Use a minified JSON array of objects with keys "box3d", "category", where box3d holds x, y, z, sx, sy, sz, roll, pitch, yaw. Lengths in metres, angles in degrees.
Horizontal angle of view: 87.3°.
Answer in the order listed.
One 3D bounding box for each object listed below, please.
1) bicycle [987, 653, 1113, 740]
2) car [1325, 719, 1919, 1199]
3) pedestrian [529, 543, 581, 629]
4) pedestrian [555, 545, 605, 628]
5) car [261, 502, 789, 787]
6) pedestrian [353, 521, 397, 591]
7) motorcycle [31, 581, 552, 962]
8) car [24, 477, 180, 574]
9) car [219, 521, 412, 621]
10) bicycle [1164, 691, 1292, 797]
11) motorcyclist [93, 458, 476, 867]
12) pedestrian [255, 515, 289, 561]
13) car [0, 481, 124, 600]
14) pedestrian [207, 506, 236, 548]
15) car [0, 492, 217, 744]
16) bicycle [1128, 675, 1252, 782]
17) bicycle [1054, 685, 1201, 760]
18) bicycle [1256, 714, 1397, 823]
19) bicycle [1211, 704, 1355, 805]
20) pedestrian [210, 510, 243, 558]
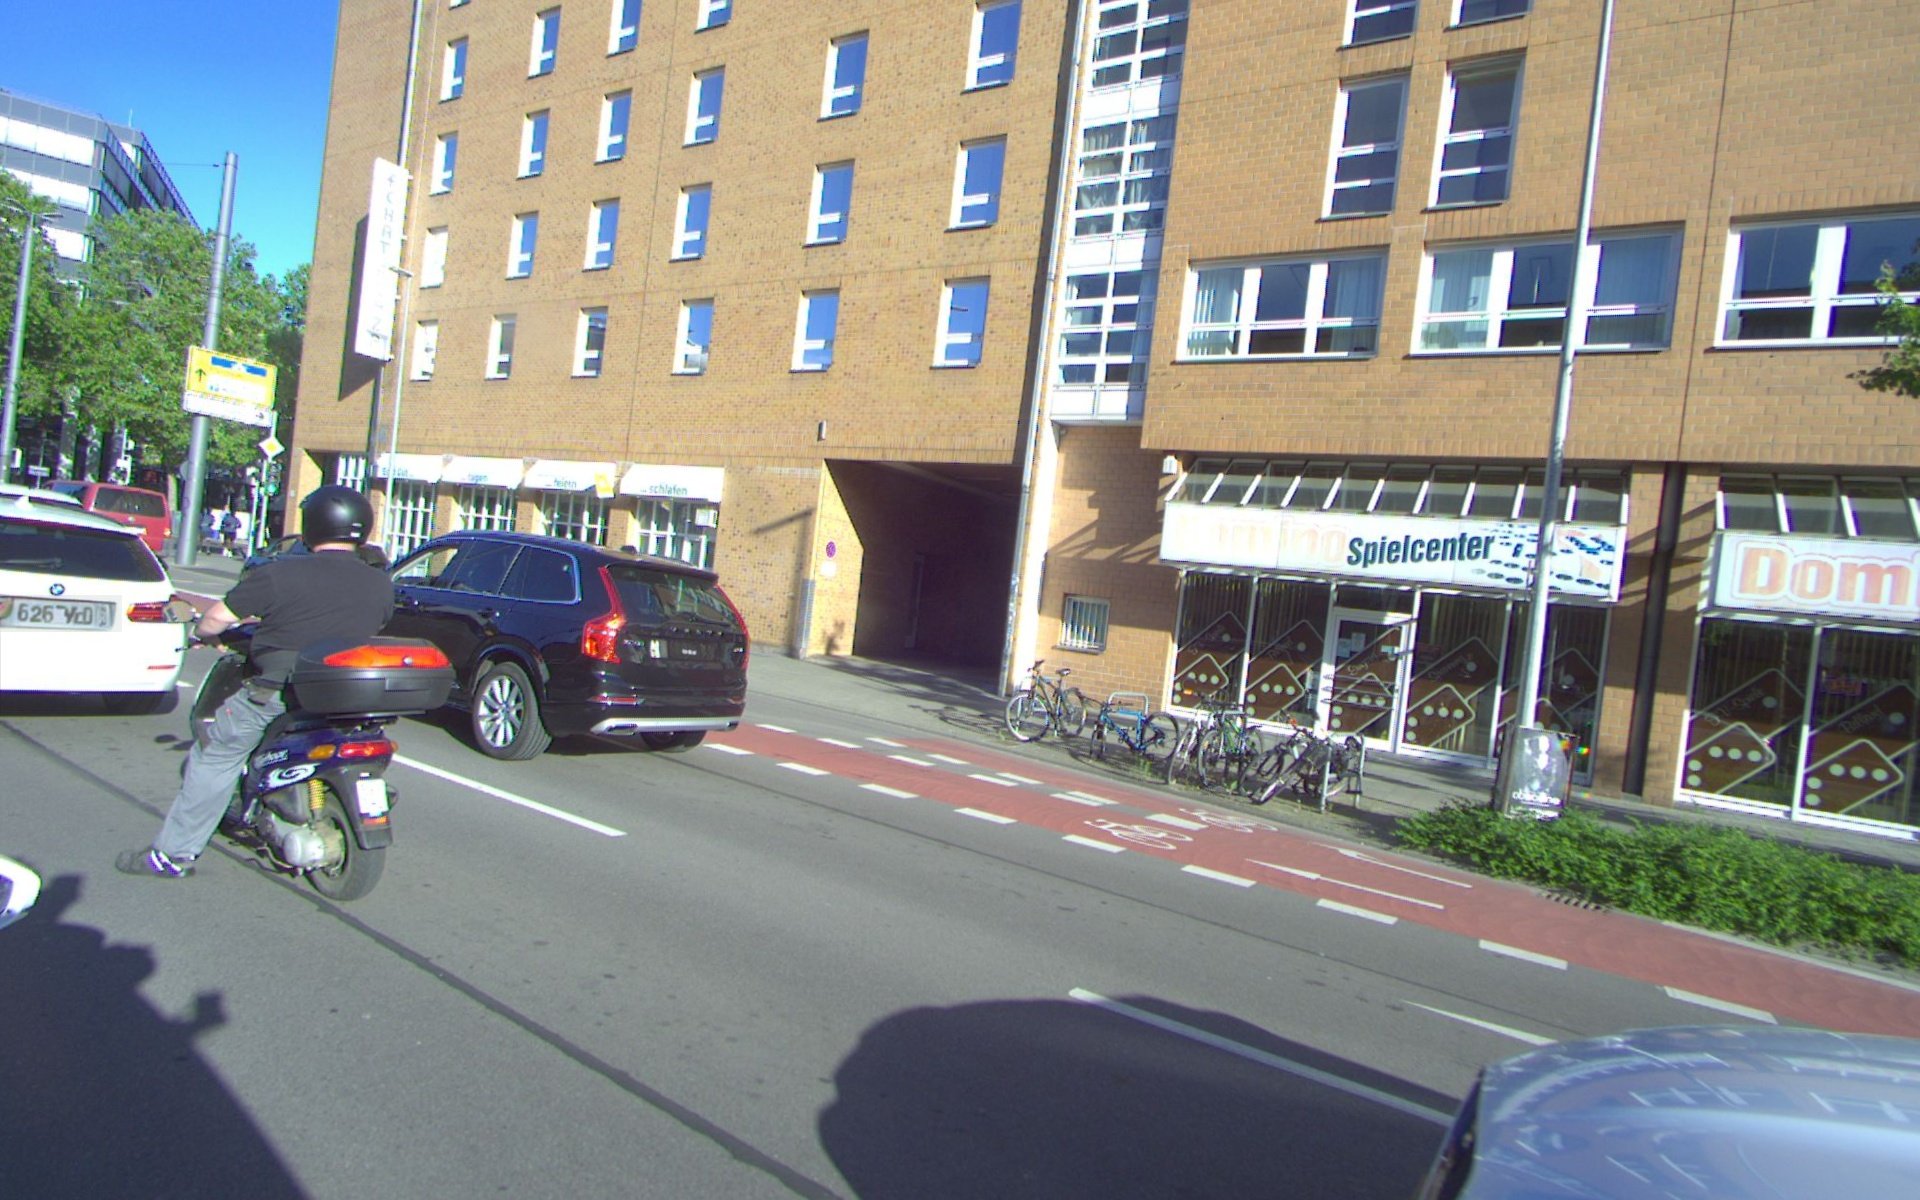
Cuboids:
[{"box3d":[1.302,1.365,14.231,0.617,1.088,1.940,7,1,43],"category":"bicycle"},{"box3d":[2.911,1.198,0.815,4.738,1.430,1.784,7,-2,32],"category":"car"},{"box3d":[-9.237,-0.314,22.966,0.736,1.844,0.607,7,1,31],"category":"pedestrian"},{"box3d":[-8.941,-0.312,23.700,0.736,1.844,0.607,7,1,31],"category":"pedestrian"},{"box3d":[-4.023,0.299,9.078,4.556,1.779,1.979,7,-2,32],"category":"car"},{"box3d":[-16.237,-1.222,27.916,0.736,1.844,0.607,7,1,31],"category":"pedestrian"},{"box3d":[-3.025,0.606,4.443,2.509,1.075,0.838,7,0,31],"category":"motorcycle"},{"box3d":[-21.817,-1.906,25.543,3.935,1.985,1.862,7,0,33],"category":"car"},{"box3d":[-13.219,-0.603,20.575,3.933,1.549,1.669,7,0,31],"category":"car"},{"box3d":[3.204,1.661,11.904,0.547,1.088,1.941,7,1,42],"category":"bicycle"},{"box3d":[-2.954,0.221,4.409,1.215,1.494,0.838,7,1,31],"category":"motorcyclist"},{"box3d":[-27.397,-2.451,40.062,0.511,1.680,0.828,7,-1,32],"category":"pedestrian"},{"box3d":[-16.003,-1.134,16.716,4.306,1.659,1.854,7,-1,32],"category":"car"},{"box3d":[-31.912,-3.134,43.454,0.511,1.680,0.698,7,-1,32],"category":"pedestrian"},{"box3d":[-7.487,-0.081,7.375,4.336,1.514,1.696,7,-2,32],"category":"car"},{"box3d":[2.835,1.537,12.262,0.484,1.151,1.941,7,1,42],"category":"bicycle"},{"box3d":[2.195,1.605,13.051,1.931,0.846,0.550,6,1,-32],"category":"bicycle"},{"box3d":[4.017,1.794,10.943,1.937,1.035,0.496,6,1,-41],"category":"bicycle"},{"box3d":[3.677,1.716,11.348,1.937,0.981,0.548,6,1,-41],"category":"bicycle"},{"box3d":[-27.697,-2.486,37.998,0.511,1.680,0.685,7,-1,32],"category":"pedestrian"}]
